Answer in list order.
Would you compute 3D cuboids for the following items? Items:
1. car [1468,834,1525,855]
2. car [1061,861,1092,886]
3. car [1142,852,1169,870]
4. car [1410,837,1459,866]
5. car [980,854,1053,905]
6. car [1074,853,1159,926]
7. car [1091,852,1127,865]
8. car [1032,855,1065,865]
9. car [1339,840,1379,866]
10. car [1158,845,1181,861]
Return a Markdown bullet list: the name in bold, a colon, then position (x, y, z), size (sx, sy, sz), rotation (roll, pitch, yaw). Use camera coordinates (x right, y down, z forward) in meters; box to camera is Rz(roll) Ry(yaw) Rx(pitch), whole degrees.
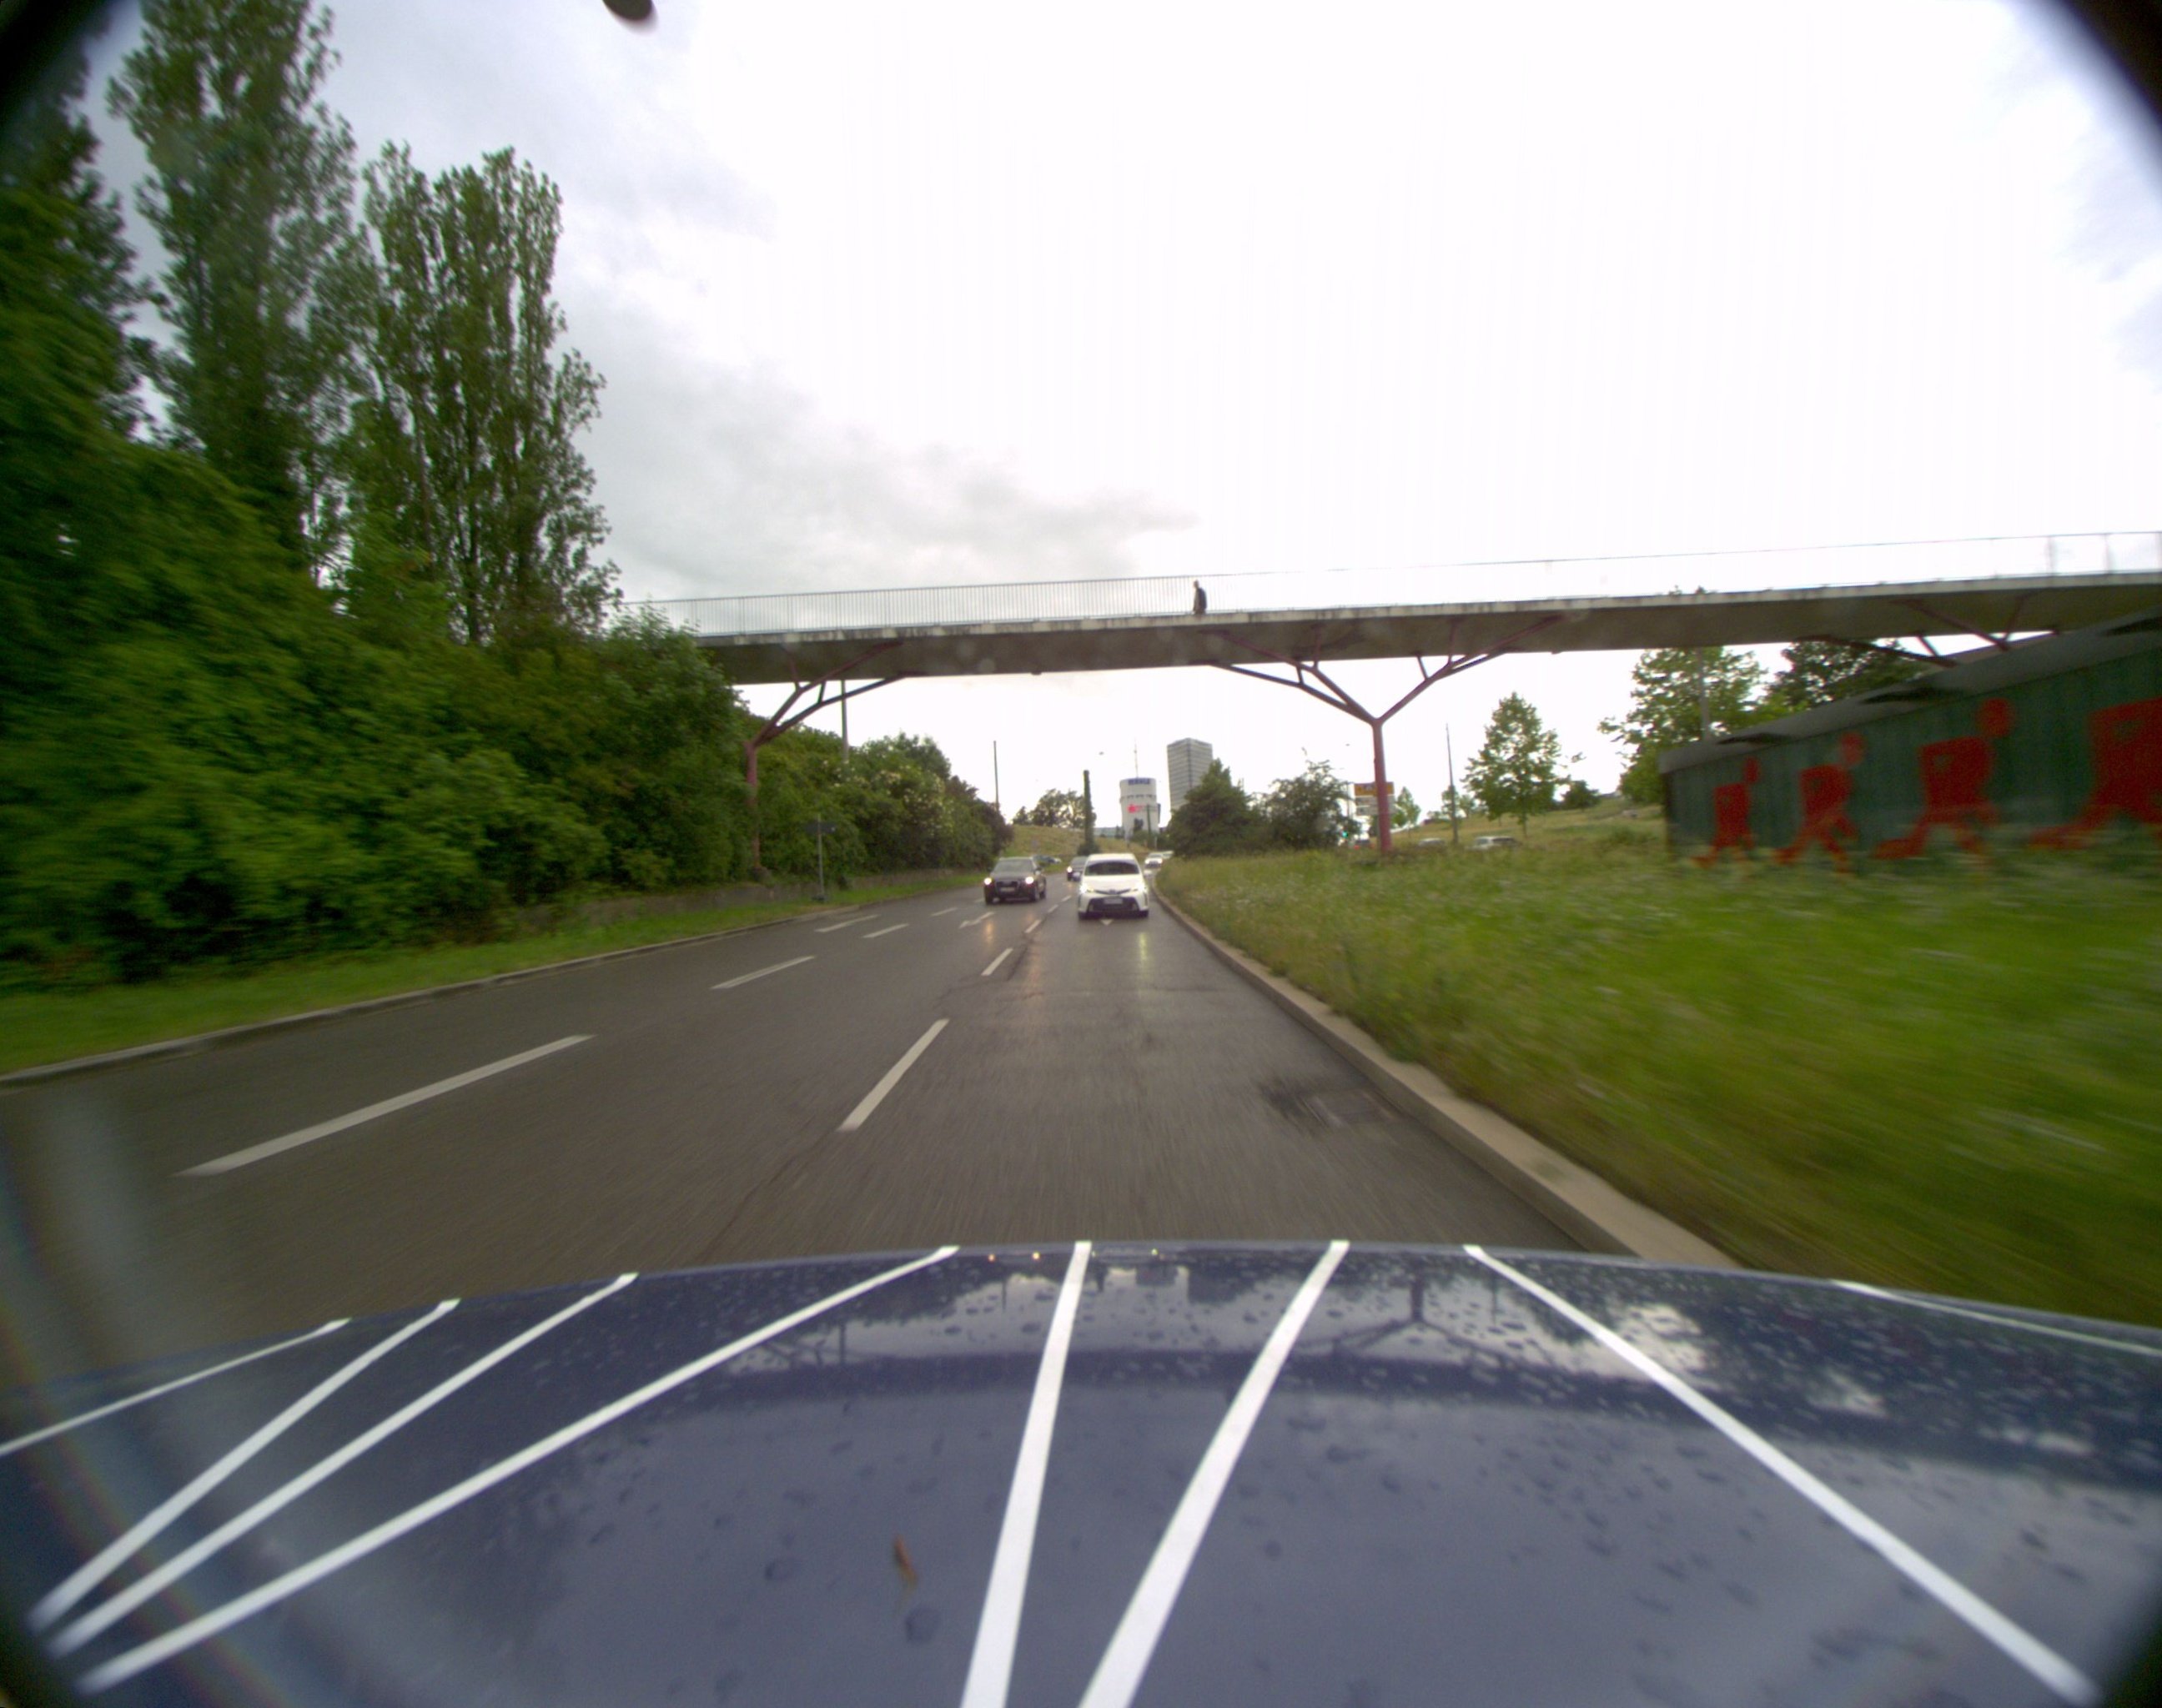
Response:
- **car**: position (22.634, -0.554, 41.452), size (1.269, 0.940, 3.084), rotation (-5, 3, -3)
- **car**: position (-0.255, 1.201, 47.805), size (1.846, 1.377, 4.000), rotation (-3, 0, 1)
- **car**: position (7.488, 0.690, 76.007), size (1.996, 1.761, 4.005), rotation (-1, -1, 15)
- **car**: position (27.626, -0.233, 59.492), size (1.998, 2.002, 4.000), rotation (-5, 1, 3)
- **car**: position (-2.262, 0.853, 27.751), size (1.927, 1.591, 4.280), rotation (-2, 0, 4)
- **car**: position (0.965, 0.834, 20.060), size (1.924, 1.604, 4.376), rotation (-3, 0, 3)
- **car**: position (4.204, 0.679, 111.922), size (4.998, 1.636, 2.070), rotation (-4, 0, -36)
- **car**: position (-4.625, 0.852, 109.395), size (4.280, 1.420, 2.070), rotation (-1, -2, -38)
- **car**: position (24.393, -0.129, 66.776), size (1.998, 2.002, 4.000), rotation (-5, 1, 3)
- **car**: position (10.067, -0.141, 86.385), size (1.996, 1.761, 4.004), rotation (-2, 0, 14)
